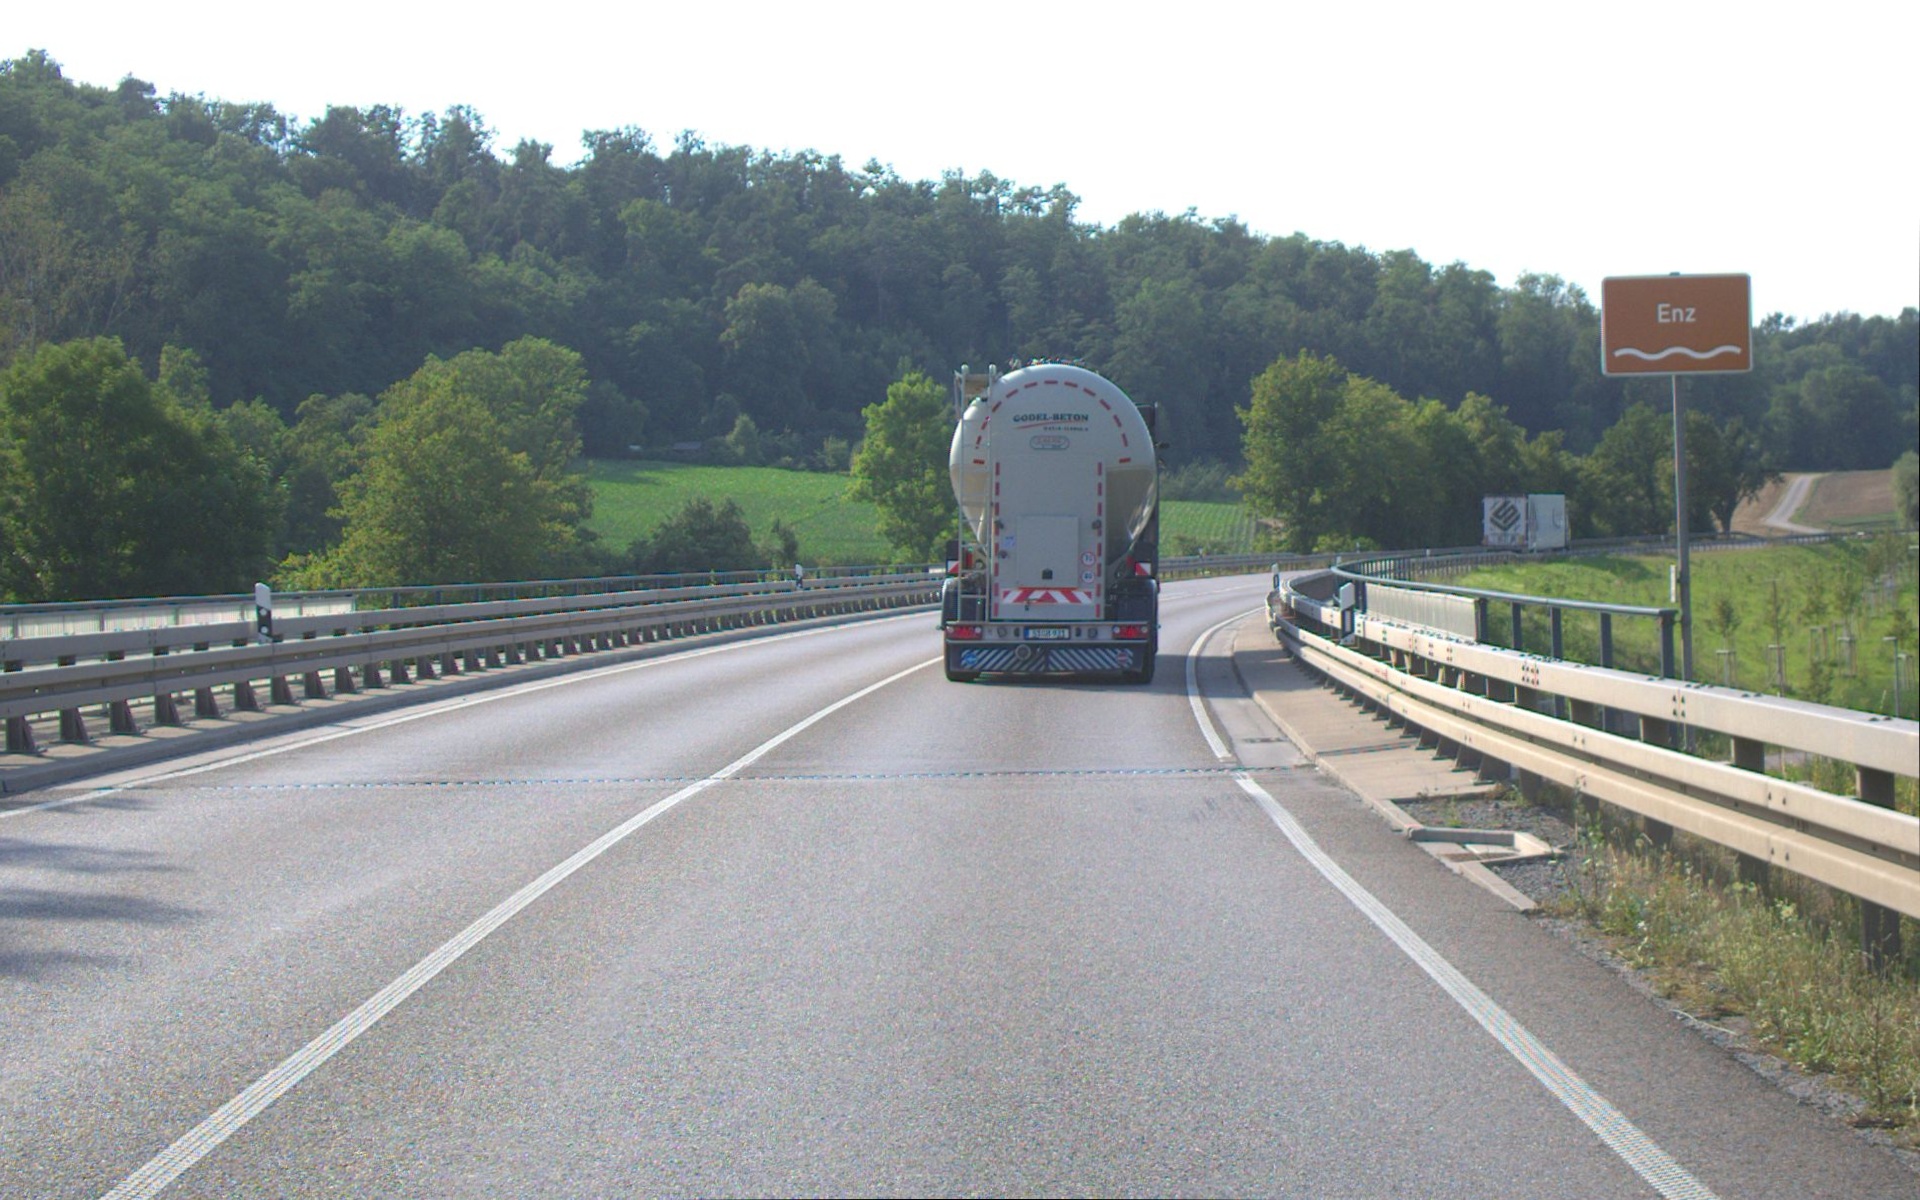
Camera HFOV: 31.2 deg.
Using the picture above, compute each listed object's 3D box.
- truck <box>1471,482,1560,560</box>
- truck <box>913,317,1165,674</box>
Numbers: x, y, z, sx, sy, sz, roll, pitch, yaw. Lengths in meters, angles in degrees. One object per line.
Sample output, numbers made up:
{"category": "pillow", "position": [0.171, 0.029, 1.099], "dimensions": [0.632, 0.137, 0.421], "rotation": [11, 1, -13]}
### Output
{"category": "truck", "position": [32.444, -4.653, 200.252], "dimensions": [3.186, 4.213, 13.162], "rotation": [0, 2, 18]}
{"category": "truck", "position": [1.140, -1.361, 46.744], "dimensions": [2.893, 4.128, 13.172], "rotation": [1, 1, 2]}
